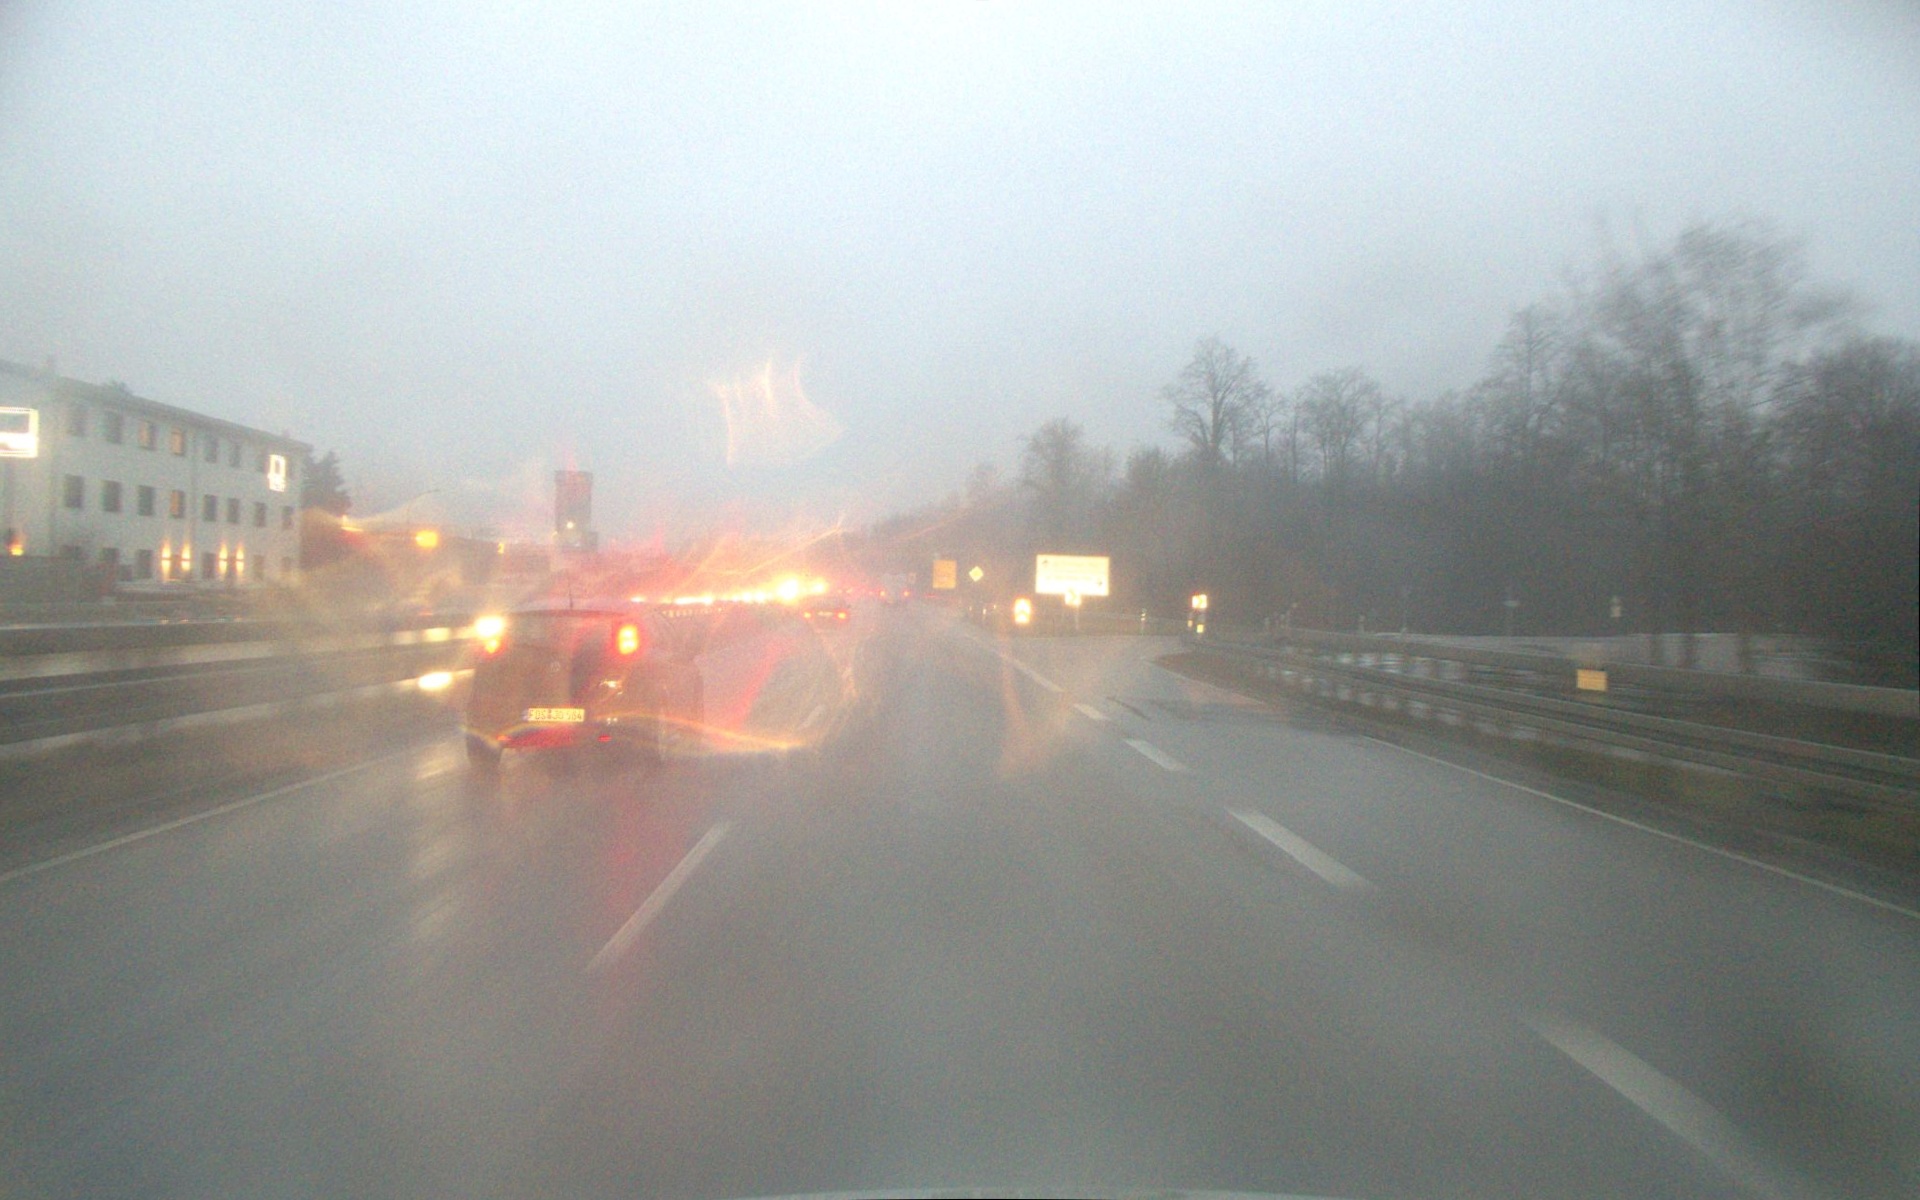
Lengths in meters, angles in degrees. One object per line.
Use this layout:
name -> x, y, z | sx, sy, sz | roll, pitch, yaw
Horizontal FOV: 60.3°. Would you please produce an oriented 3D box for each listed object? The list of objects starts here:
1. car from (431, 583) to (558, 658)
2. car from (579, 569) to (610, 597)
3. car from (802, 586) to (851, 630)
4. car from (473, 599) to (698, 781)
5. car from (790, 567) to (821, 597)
car -> -10.614, 0.423, 38.005 | 1.840, 1.607, 4.478 | 1, 1, -3
car -> -25.898, -1.201, 117.295 | 1.856, 1.853, 3.865 | 3, 0, -10
car -> -4.960, 0.272, 61.741 | 1.741, 1.561, 4.699 | 0, 0, -4
car -> -3.484, 0.771, 15.920 | 1.497, 1.440, 3.476 | 3, 1, -4
car -> -11.856, -1.398, 126.634 | 2.083, 2.157, 3.569 | 3, 1, -8
